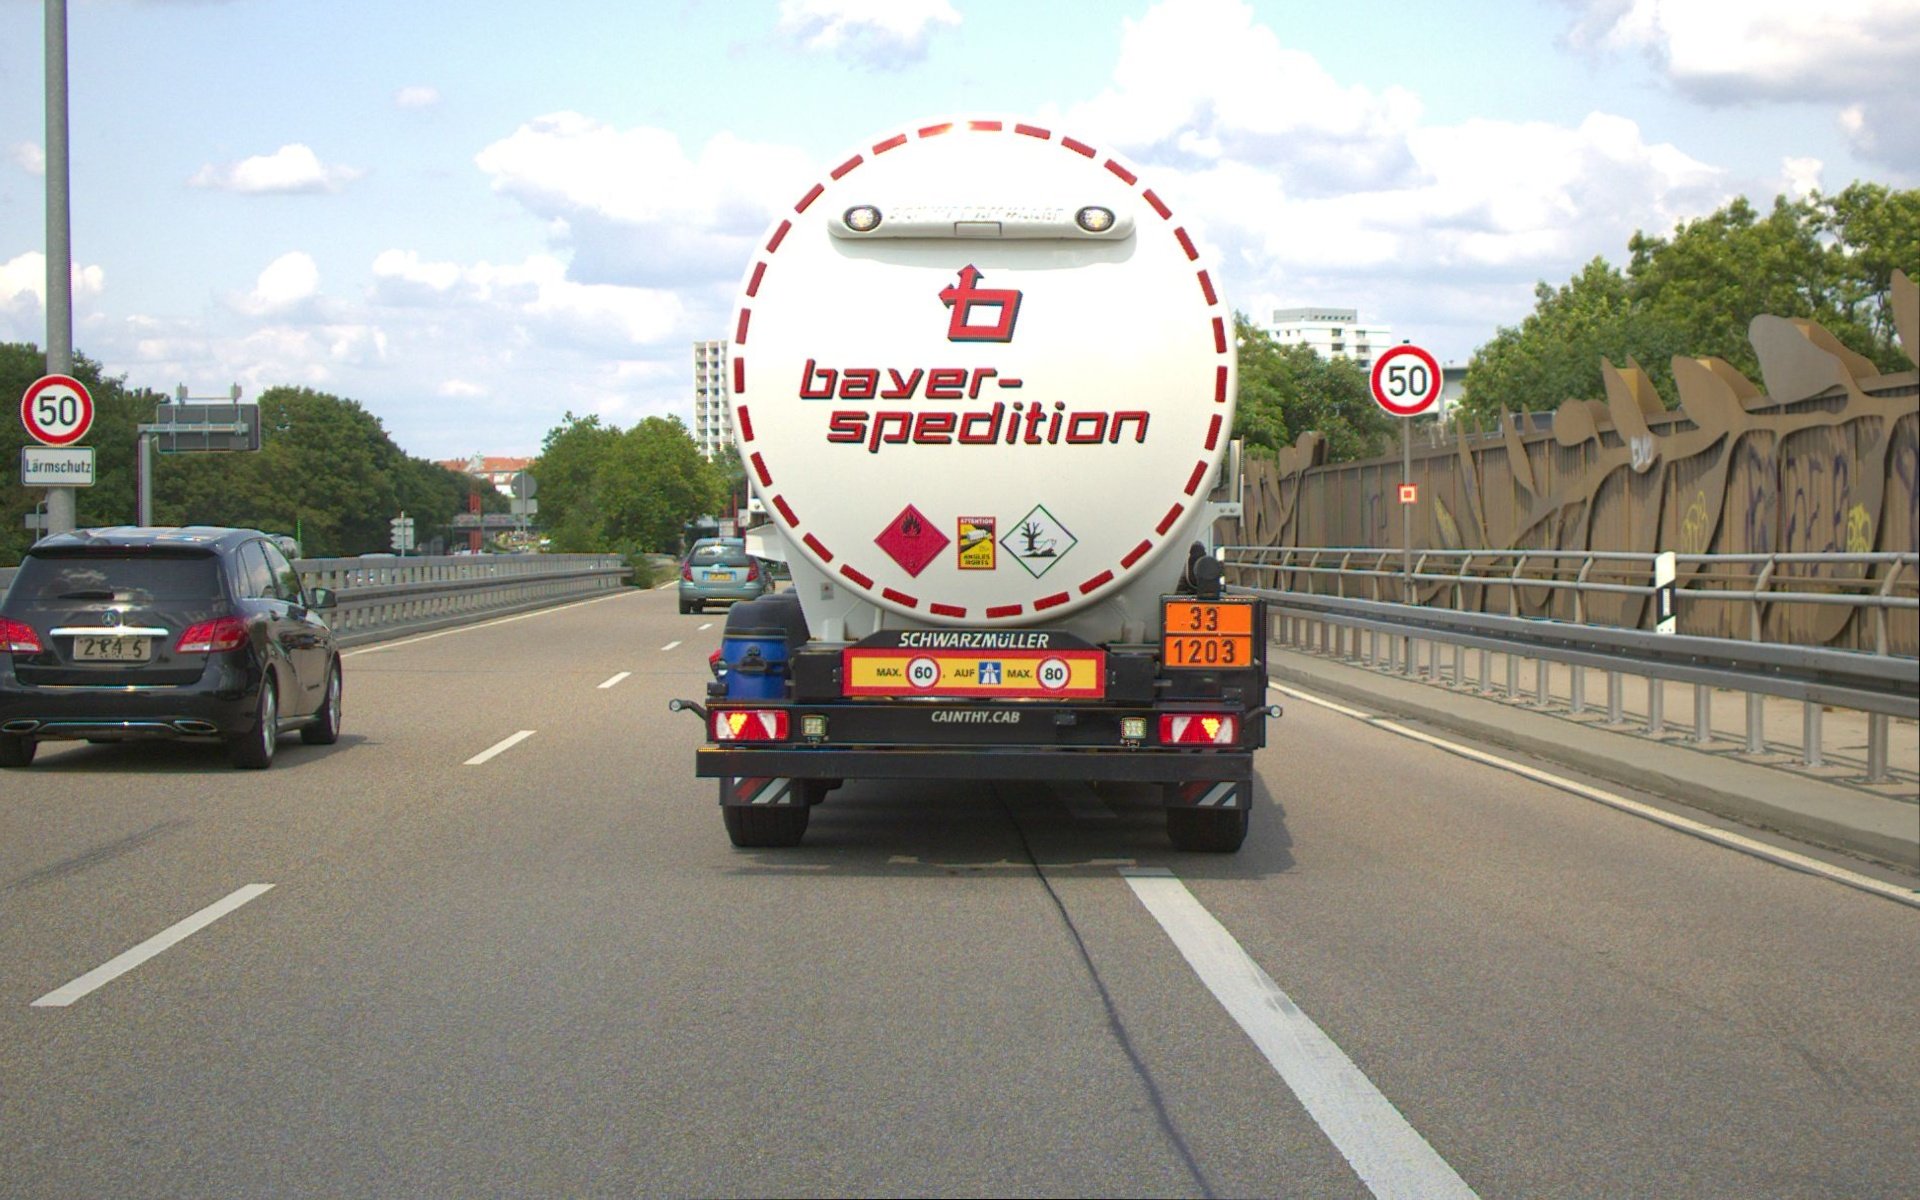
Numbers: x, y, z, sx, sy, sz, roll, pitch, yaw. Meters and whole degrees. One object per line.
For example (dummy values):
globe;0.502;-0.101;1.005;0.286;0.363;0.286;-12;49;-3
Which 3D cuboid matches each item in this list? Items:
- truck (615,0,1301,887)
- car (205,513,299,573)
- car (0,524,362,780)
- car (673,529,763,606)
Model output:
truck;0.159;-1.058;18.850;2.895;4.353;8.029;1;1;2
car;-20.018;-1.634;97.309;1.993;1.634;4.001;1;1;-3
car;-5.235;0.267;23.181;1.711;1.522;4.593;1;1;-2
car;-5.055;-0.709;72.236;1.747;1.526;4.001;0;2;-2
